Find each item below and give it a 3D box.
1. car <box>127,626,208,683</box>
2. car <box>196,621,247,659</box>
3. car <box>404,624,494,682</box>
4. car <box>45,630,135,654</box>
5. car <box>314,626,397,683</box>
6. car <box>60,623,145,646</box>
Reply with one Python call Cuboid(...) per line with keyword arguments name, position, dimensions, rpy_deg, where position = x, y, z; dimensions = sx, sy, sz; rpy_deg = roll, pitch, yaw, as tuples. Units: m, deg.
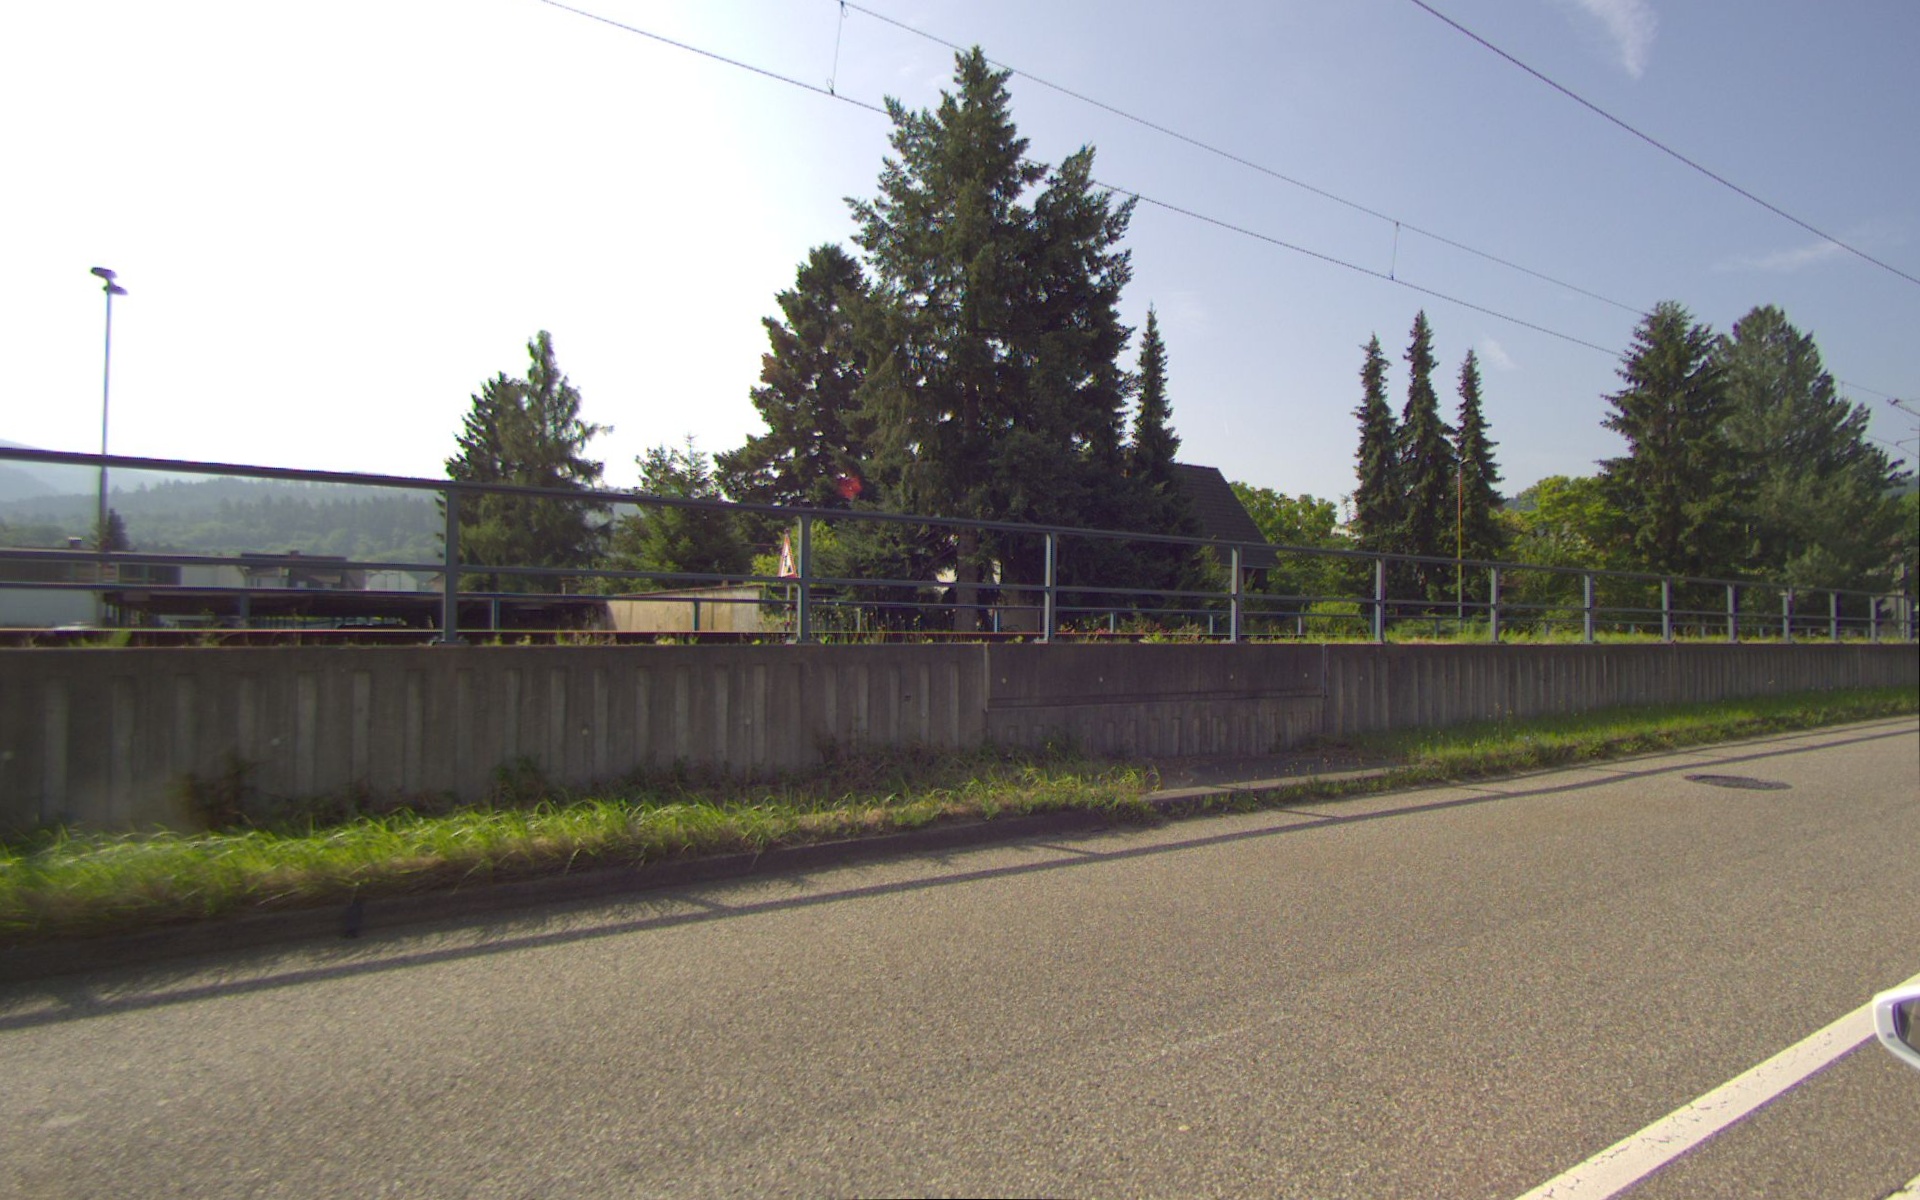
Cuboid(name="car", position=(-24.024, 1.600, 30.464), dimensions=(1.803, 1.557, 3.955), rpy_deg=(2, -1, -39))
Cuboid(name="car", position=(-35.406, 1.903, 48.113), dimensions=(1.803, 1.687, 3.955), rpy_deg=(2, -1, -39))
Cuboid(name="car", position=(-16.499, 1.656, 32.326), dimensions=(1.803, 1.687, 3.955), rpy_deg=(2, -1, -39))
Cuboid(name="car", position=(-48.608, 2.350, 56.155), dimensions=(1.432, 1.342, 3.529), rpy_deg=(-1, -3, 32))
Cuboid(name="car", position=(-19.907, 1.745, 33.028), dimensions=(1.803, 1.687, 3.955), rpy_deg=(2, -1, -39))
Cuboid(name="car", position=(-50.558, 2.045, 59.315), dimensions=(1.429, 1.342, 3.535), rpy_deg=(-1, -3, 24))
